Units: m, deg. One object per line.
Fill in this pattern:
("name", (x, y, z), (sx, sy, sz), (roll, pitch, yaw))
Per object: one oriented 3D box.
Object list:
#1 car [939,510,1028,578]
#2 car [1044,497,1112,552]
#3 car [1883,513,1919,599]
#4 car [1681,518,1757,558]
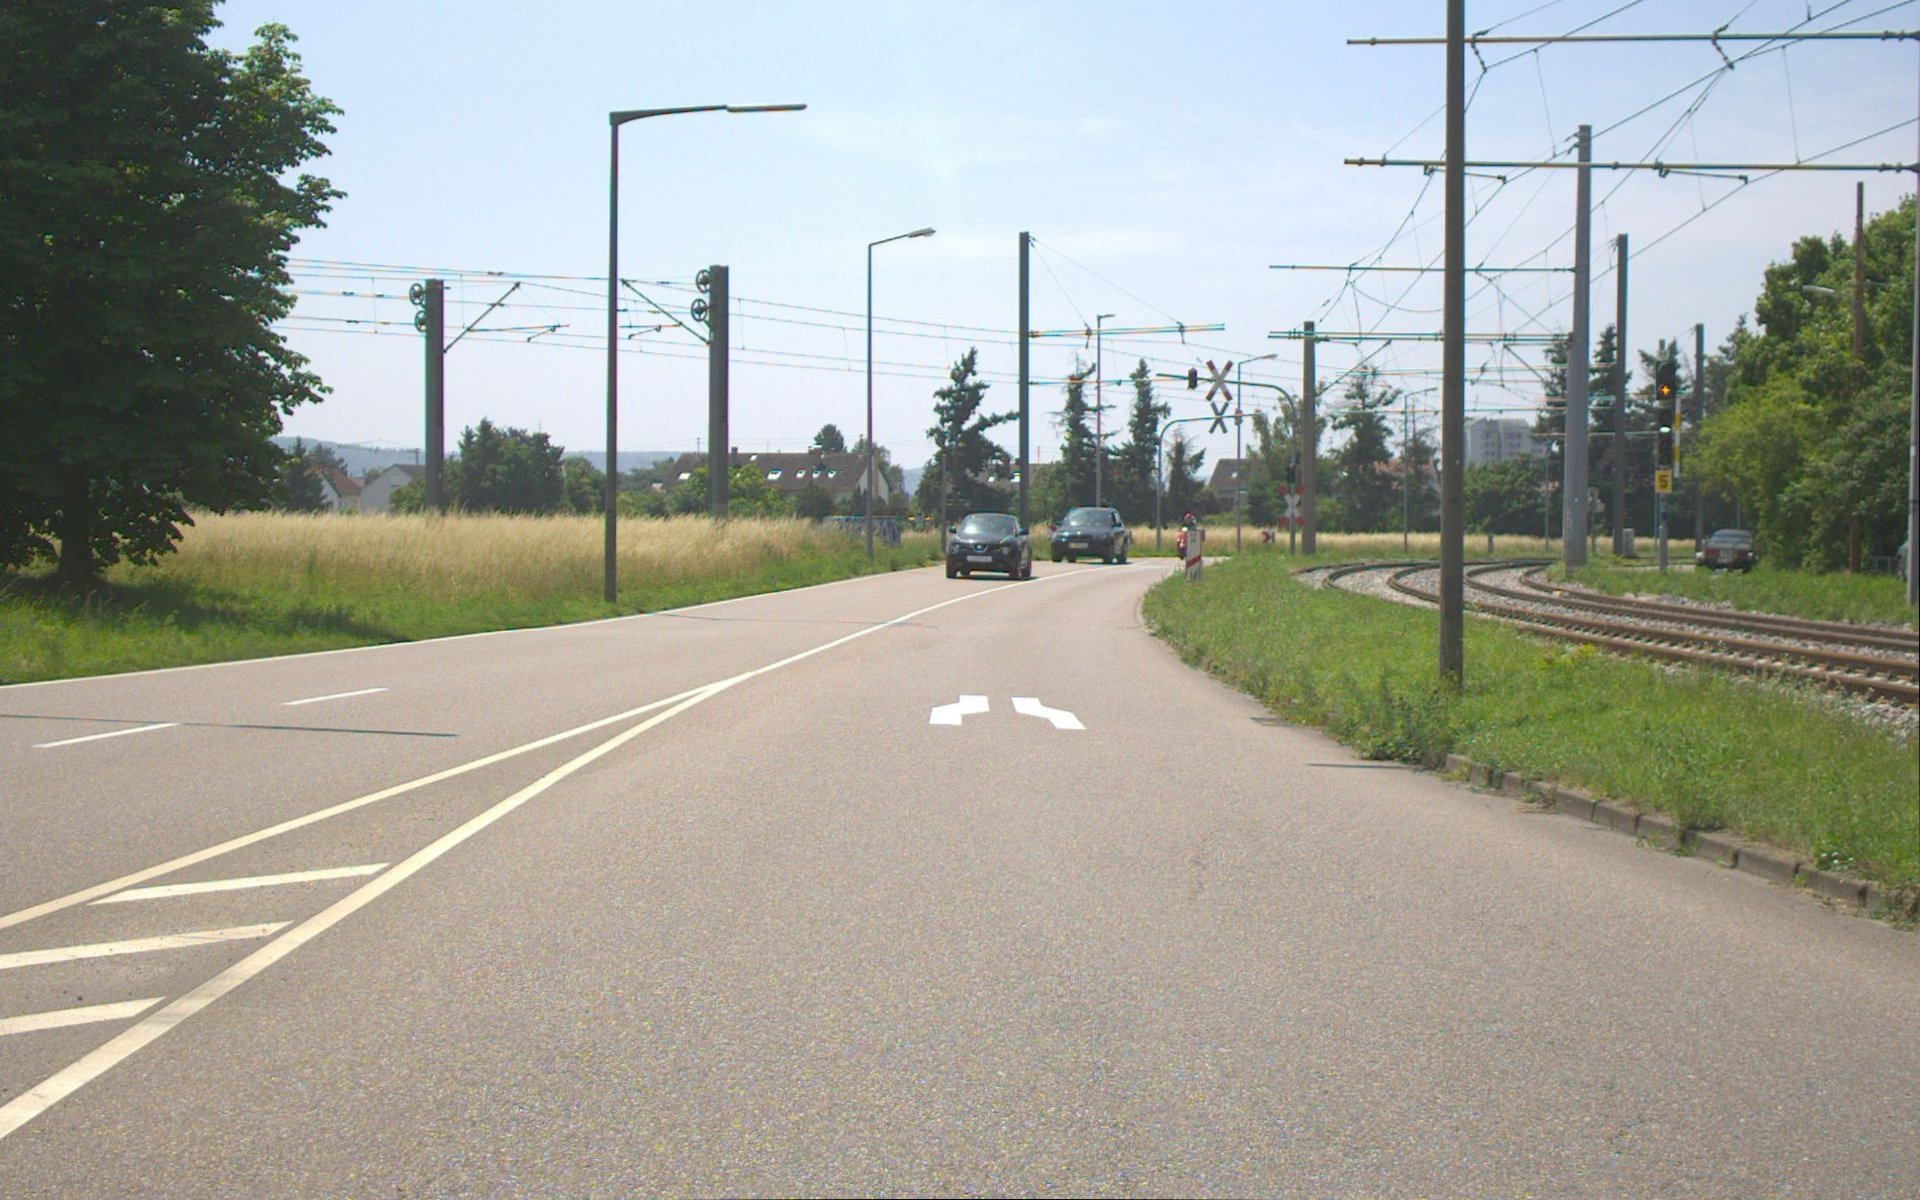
("car", (0.596, -1.346, 83.790), (1.822, 1.567, 4.111), (1, 0, 5))
("car", (3.552, -2.270, 102.866), (1.827, 1.596, 4.484), (1, 2, 4))
("car", (19.435, -0.834, 67.026), (1.828, 1.651, 4.815), (1, 0, 4))
("car", (23.674, -1.913, 107.347), (1.644, 1.167, 3.668), (1, 0, 2))
